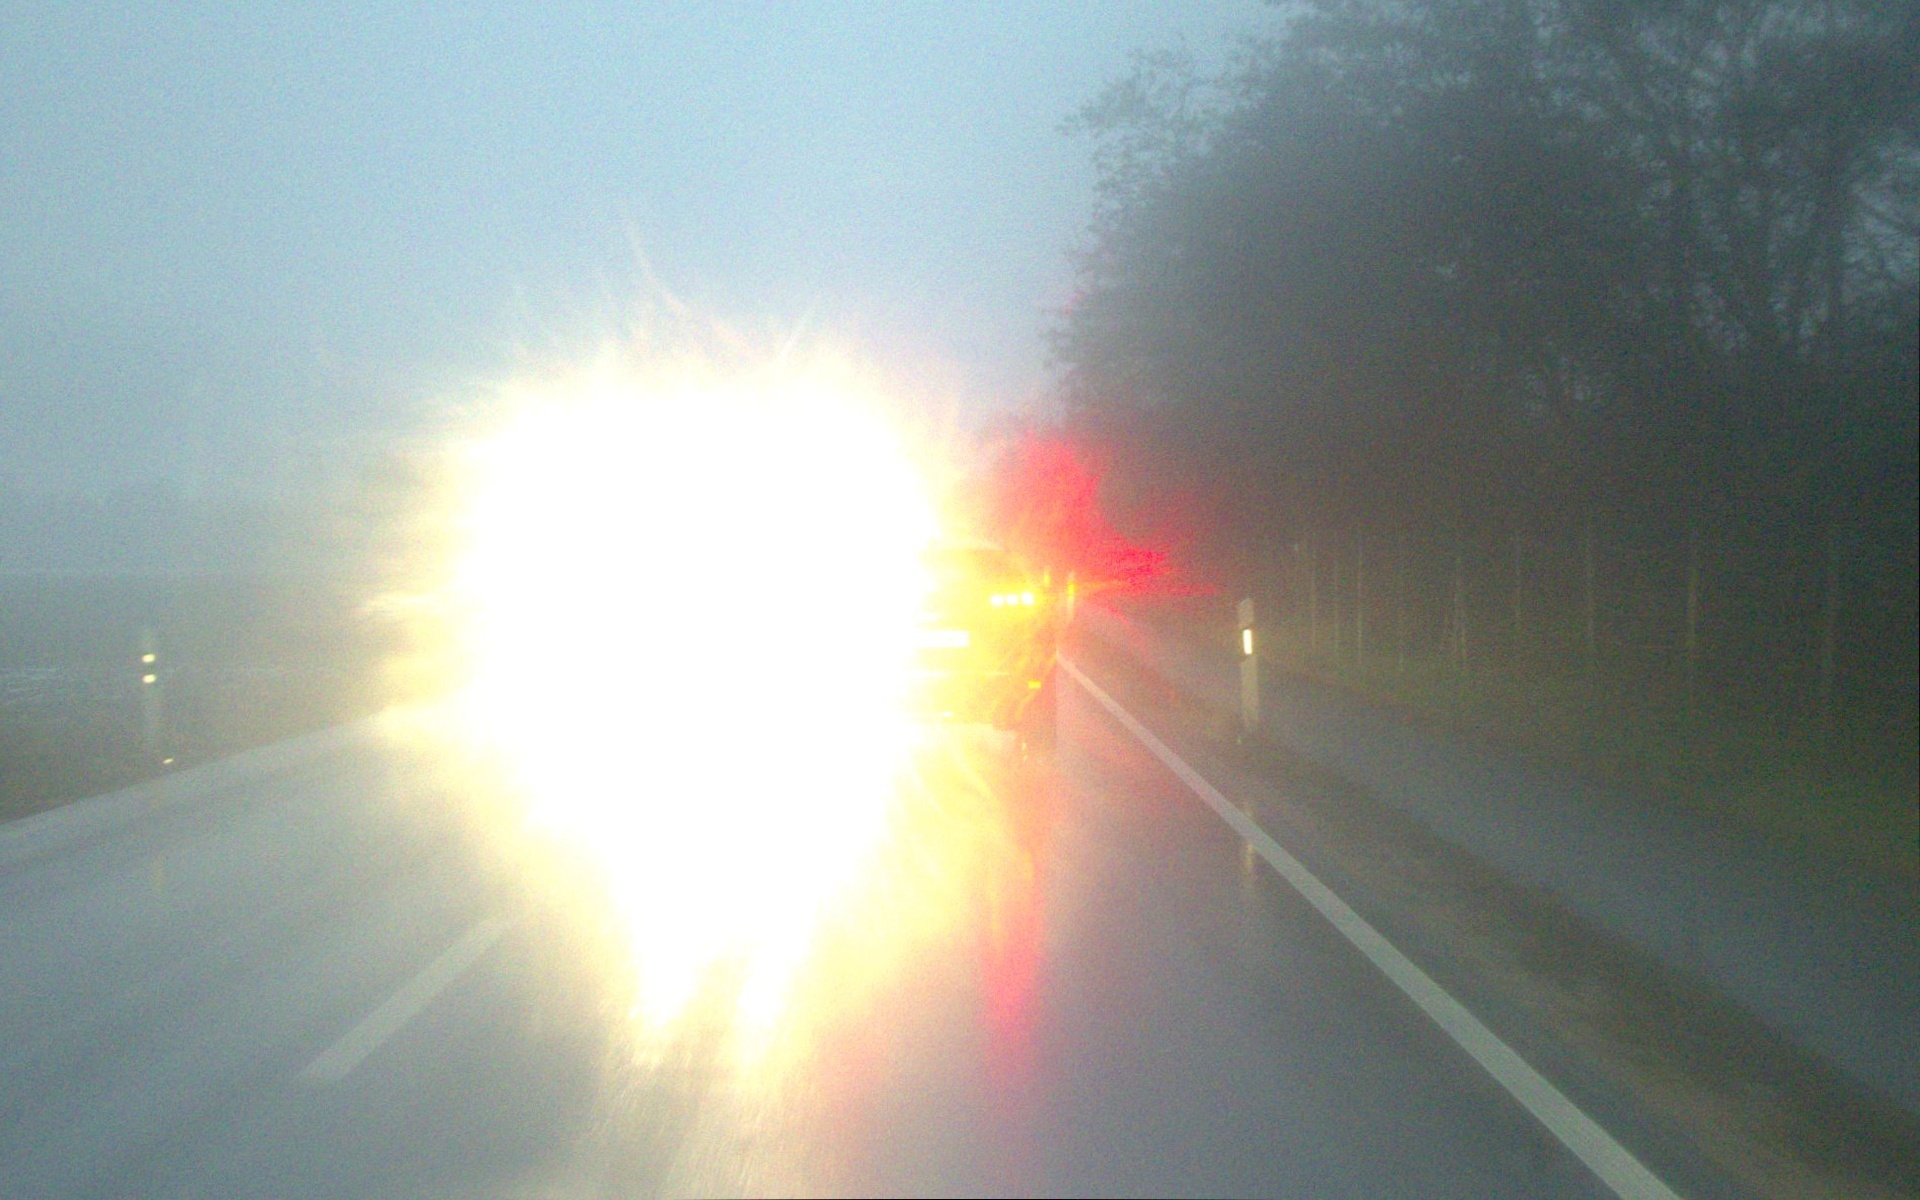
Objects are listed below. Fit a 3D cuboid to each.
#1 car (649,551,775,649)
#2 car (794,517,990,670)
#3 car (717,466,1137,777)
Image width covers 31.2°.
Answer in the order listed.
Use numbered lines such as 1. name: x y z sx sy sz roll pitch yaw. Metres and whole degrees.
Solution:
1. car: -3.929 -0.024 54.996 1.728 1.408 4.023 -3 1 -1
2. car: -0.888 -0.122 48.969 2.592 2.007 5.804 1 1 0
3. car: -0.208 0.108 26.329 2.820 2.070 5.804 1 1 0
